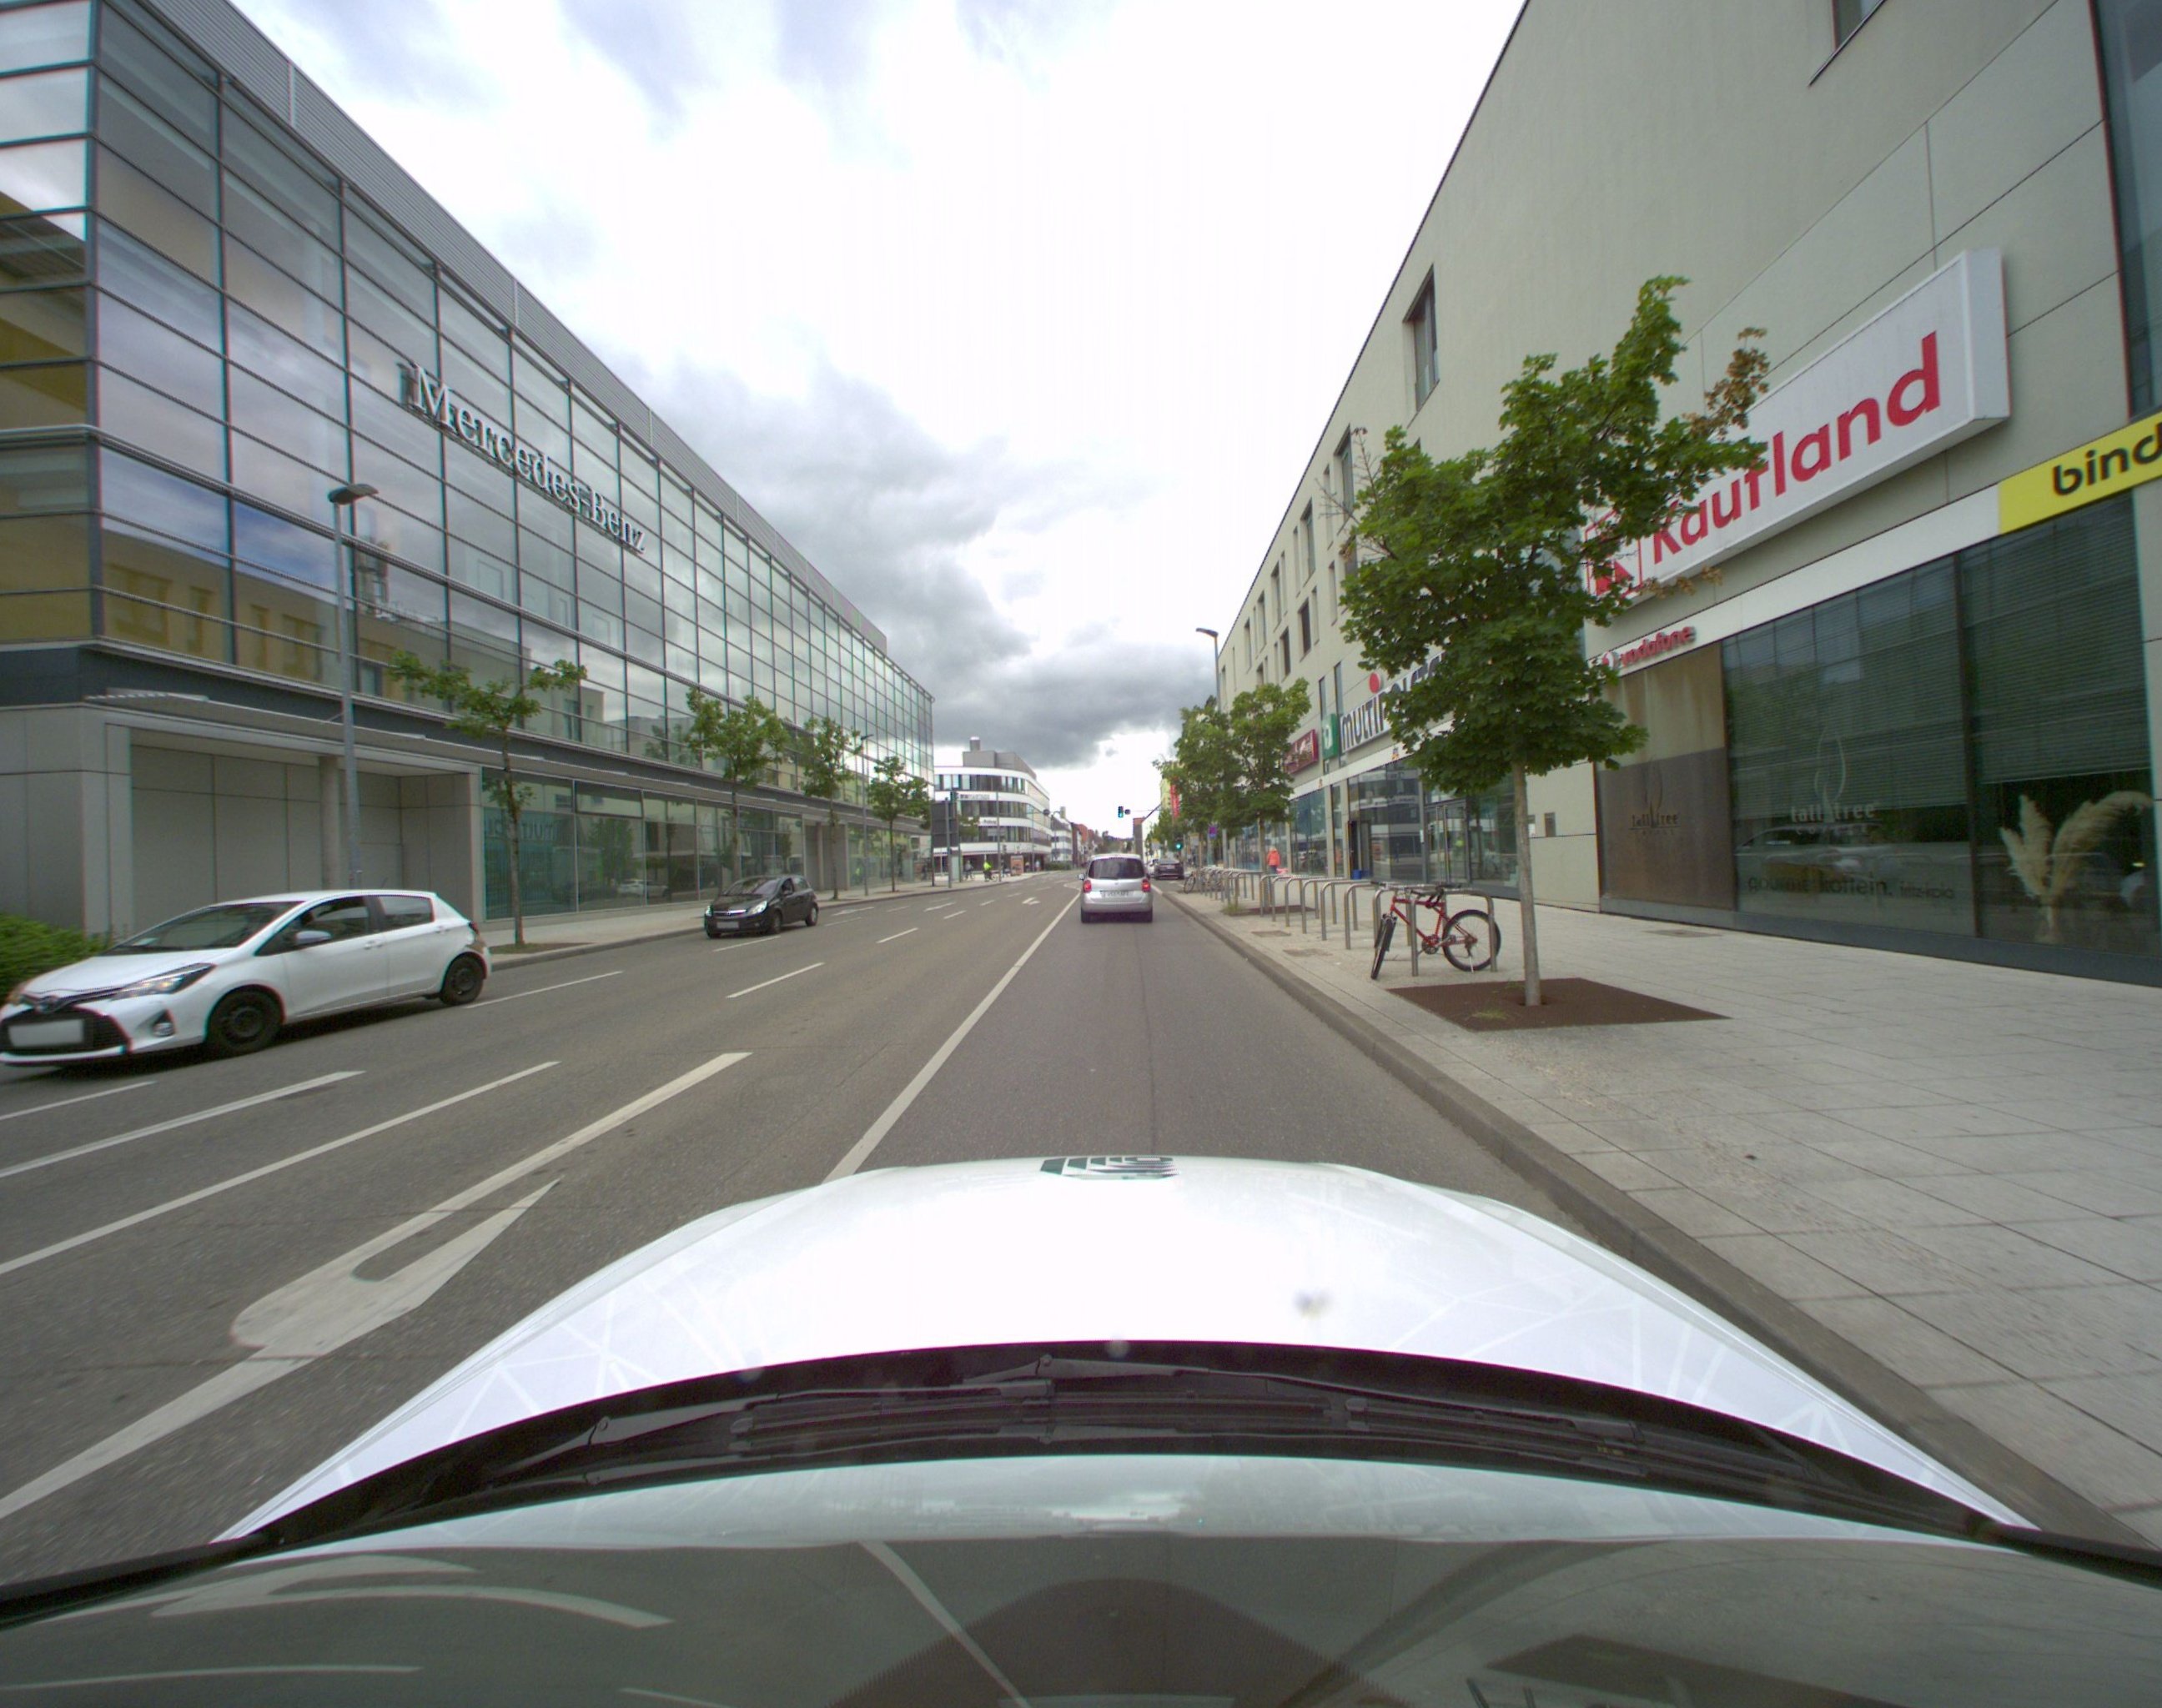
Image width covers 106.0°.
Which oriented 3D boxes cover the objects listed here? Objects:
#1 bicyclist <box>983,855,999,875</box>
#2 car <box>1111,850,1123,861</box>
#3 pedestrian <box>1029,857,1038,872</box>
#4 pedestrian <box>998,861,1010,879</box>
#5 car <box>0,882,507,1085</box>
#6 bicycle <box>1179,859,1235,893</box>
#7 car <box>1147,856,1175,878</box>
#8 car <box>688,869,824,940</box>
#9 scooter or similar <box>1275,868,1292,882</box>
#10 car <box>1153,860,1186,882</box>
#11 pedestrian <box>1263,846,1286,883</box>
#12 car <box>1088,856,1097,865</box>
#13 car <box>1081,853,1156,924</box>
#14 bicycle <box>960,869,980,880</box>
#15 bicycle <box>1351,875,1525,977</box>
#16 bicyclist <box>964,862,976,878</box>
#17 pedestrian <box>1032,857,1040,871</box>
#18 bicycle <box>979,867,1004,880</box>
[{"bbox_3d":[-7.525,0.935,68.161,1.012,1.660,0.924,0,-1,-29],"label":"bicyclist"},{"bbox_3d":[6.948,0.240,155.251,2.161,2.013,4.261,-3,0,2],"label":"car"},{"bbox_3d":[-6.137,1.348,106.122,0.957,1.833,1.251,-3,0,2],"label":"pedestrian"},{"bbox_3d":[-8.179,1.678,86.563,1.245,1.833,0.962,-3,0,-6],"label":"pedestrian"},{"bbox_3d":[-8.467,1.144,8.681,1.653,1.465,4.002,-3,0,2],"label":"car"},{"bbox_3d":[4.463,0.775,28.843,1.819,1.074,0.752,-4,0,0],"label":"bicycle"},{"bbox_3d":[5.831,0.937,59.611,1.870,1.509,4.003,0,0,2],"label":"car"},{"bbox_3d":[-8.136,1.215,20.804,1.653,1.480,4.002,-3,0,2],"label":"car"},{"bbox_3d":[8.864,0.917,35.694,0.548,0.546,0.643,-5,0,2],"label":"scooter or similar"},{"bbox_3d":[5.736,1.091,53.049,1.870,1.335,4.003,0,0,2],"label":"car"},{"bbox_3d":[8.667,0.461,36.457,0.707,1.574,0.813,-5,0,2],"label":"pedestrian"},{"bbox_3d":[3.106,1.668,213.081,2.161,2.013,4.261,-3,0,2],"label":"car"},{"bbox_3d":[0.835,0.771,19.819,1.664,1.554,3.641,0,0,0],"label":"car"},{"bbox_3d":[-10.026,1.865,73.507,0.832,0.898,2.501,-2,0,-30],"label":"bicycle"},{"bbox_3d":[3.843,0.762,8.880,1.553,0.992,0.753,-2,0,5],"label":"bicycle"},{"bbox_3d":[-10.043,1.446,73.514,0.832,1.327,0.645,-2,0,-31],"label":"bicyclist"},{"bbox_3d":[-6.133,1.375,111.577,0.957,1.833,1.251,-3,0,2],"label":"pedestrian"},{"bbox_3d":[-7.518,1.632,68.138,1.012,1.018,3.100,0,-1,-29],"label":"bicycle"}]
